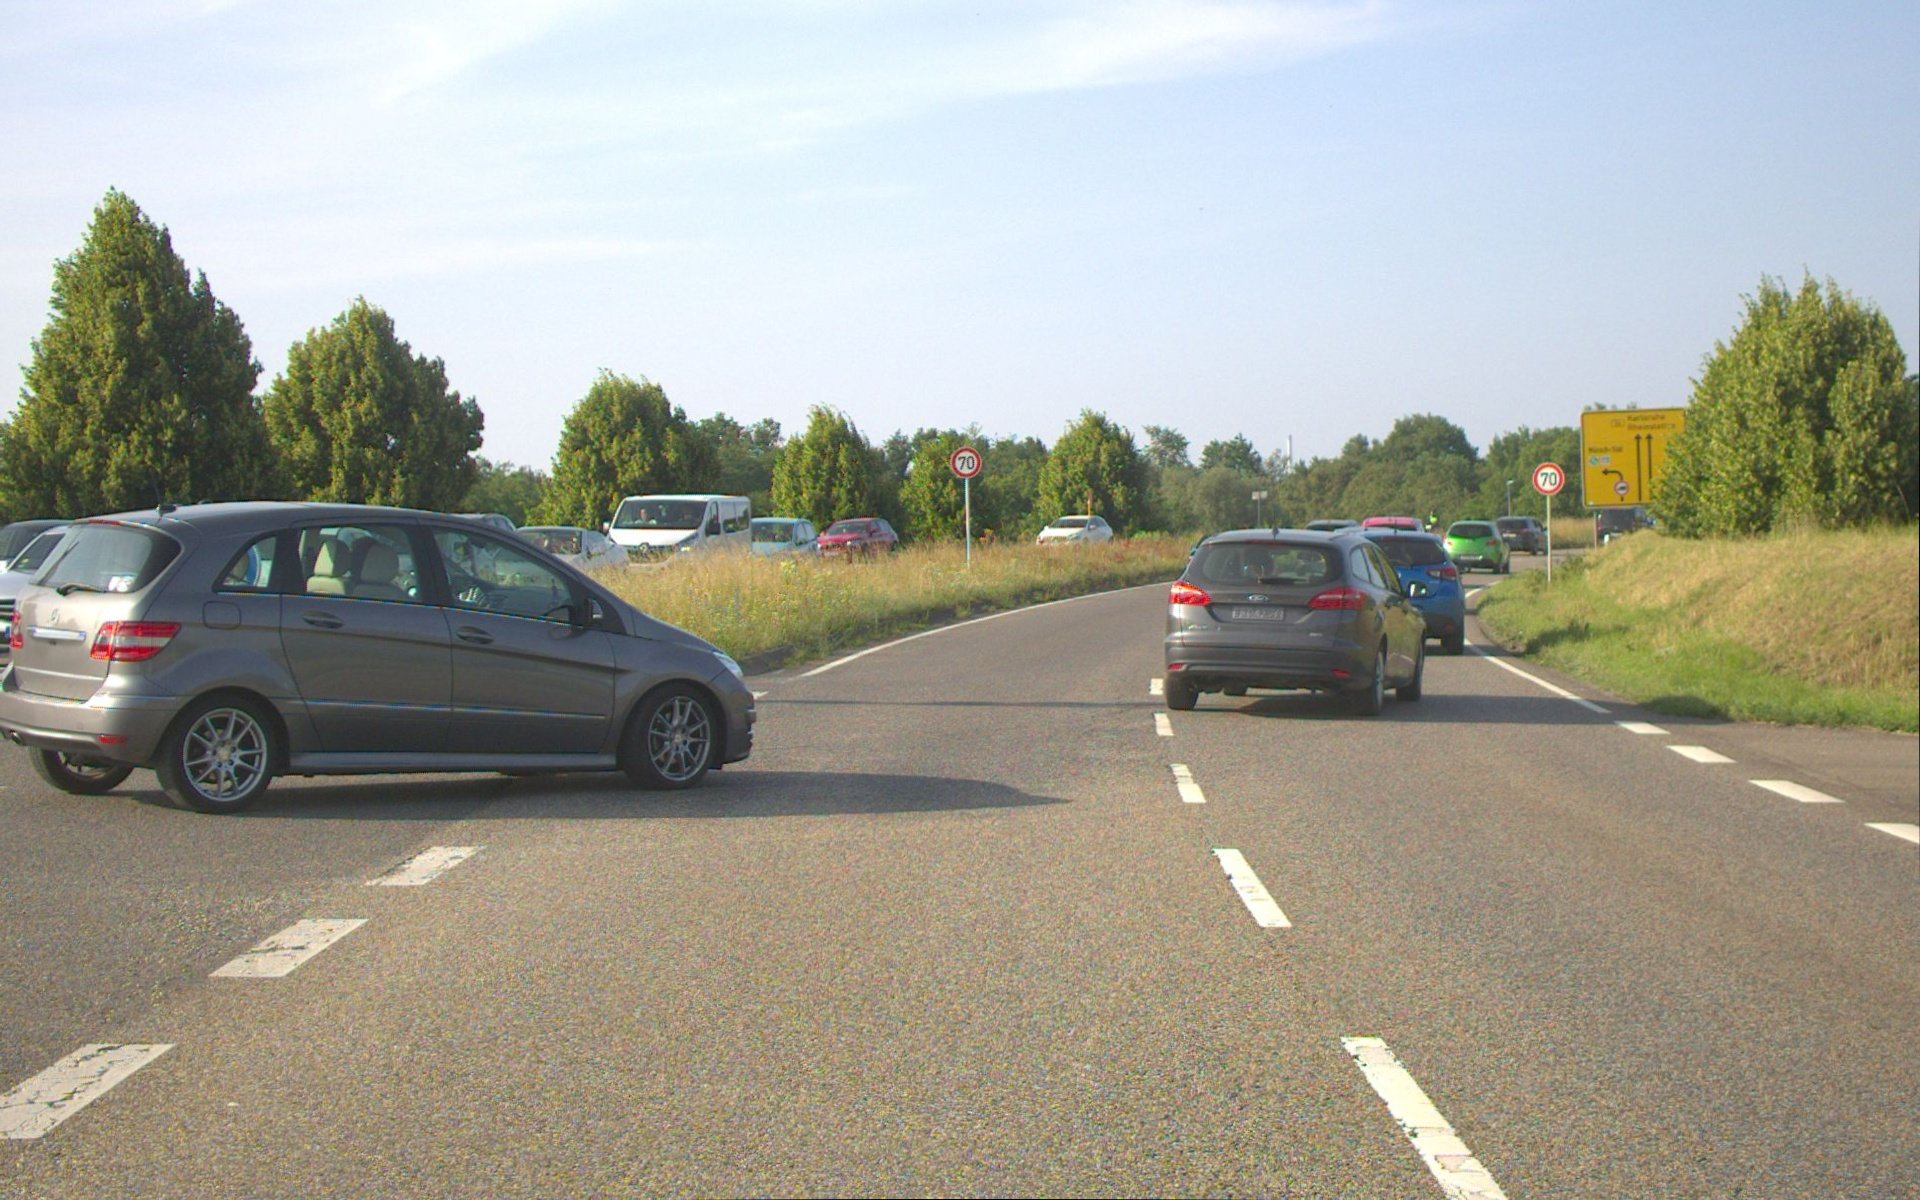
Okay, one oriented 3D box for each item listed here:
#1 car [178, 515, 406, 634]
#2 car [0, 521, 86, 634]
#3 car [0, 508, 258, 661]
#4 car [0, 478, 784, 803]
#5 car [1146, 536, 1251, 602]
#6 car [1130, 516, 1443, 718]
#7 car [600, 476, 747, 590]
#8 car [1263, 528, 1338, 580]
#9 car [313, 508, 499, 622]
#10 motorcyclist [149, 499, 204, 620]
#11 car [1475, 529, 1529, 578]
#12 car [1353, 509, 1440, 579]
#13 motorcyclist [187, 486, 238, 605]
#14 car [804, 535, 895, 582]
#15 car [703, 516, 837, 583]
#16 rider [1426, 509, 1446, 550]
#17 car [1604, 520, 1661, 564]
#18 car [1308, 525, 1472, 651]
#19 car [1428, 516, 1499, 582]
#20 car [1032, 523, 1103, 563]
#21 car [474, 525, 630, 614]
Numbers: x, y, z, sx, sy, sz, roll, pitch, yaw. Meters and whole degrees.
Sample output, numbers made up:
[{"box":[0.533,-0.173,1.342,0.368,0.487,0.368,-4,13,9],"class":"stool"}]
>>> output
[{"box":[-8.437,-0.352,43.775,1.786,1.428,4.309,-1,1,4],"class":"car"},{"box":[-12.923,-0.306,44.800,1.786,1.428,4.051,-1,1,4],"class":"car"},{"box":[-8.887,-0.196,36.042,1.786,1.483,4.651,-1,1,4],"class":"car"},{"box":[-3.199,0.209,18.901,4.183,1.600,1.790,0,0,-38],"class":"car"},{"box":[4.984,-0.628,71.412,1.909,1.318,4.276,0,0,8],"class":"car"},{"box":[2.847,0.092,29.056,1.811,1.560,4.527,0,1,16],"class":"car"},{"box":[-5.428,-1.277,65.580,1.926,2.071,4.242,-1,1,7],"class":"car"},{"box":[9.534,-1.260,95.934,1.837,1.372,4.276,0,0,9],"class":"car"},{"box":[-8.012,-0.527,50.070,1.786,1.563,4.051,-1,1,4],"class":"car"},{"box":[-11.340,-0.587,49.800,0.662,1.741,0.605,-1,1,-3],"class":"motorcyclist"},{"box":[20.062,-1.719,127.147,1.909,1.728,4.276,0,0,10],"class":"car"},{"box":[10.225,-1.290,80.310,1.896,1.559,4.276,0,0,9],"class":"car"},{"box":[-11.468,-0.835,52.757,0.662,1.810,0.605,-1,1,-3],"class":"motorcyclist"},{"box":[-3.365,-1.294,105.795,1.787,1.381,4.049,0,1,13],"class":"car"},{"box":[-4.041,-1.095,73.808,1.787,1.381,4.049,0,1,13],"class":"car"},{"box":[23.375,-3.456,168.961,0.868,2.007,0.771,0,1,16],"class":"rider"},{"box":[27.960,-2.409,142.994,1.909,1.728,4.277,0,0,5],"class":"car"},{"box":[5.365,-0.184,42.561,1.773,1.487,3.983,0,1,11],"class":"car"},{"box":[14.129,-1.414,96.644,1.909,1.794,4.276,0,0,8],"class":"car"},{"box":[3.916,-2.083,125.095,1.787,1.381,4.049,0,1,13],"class":"car"},{"box":[-6.632,-0.521,56.249,1.786,1.381,4.051,-1,1,4],"class":"car"}]
